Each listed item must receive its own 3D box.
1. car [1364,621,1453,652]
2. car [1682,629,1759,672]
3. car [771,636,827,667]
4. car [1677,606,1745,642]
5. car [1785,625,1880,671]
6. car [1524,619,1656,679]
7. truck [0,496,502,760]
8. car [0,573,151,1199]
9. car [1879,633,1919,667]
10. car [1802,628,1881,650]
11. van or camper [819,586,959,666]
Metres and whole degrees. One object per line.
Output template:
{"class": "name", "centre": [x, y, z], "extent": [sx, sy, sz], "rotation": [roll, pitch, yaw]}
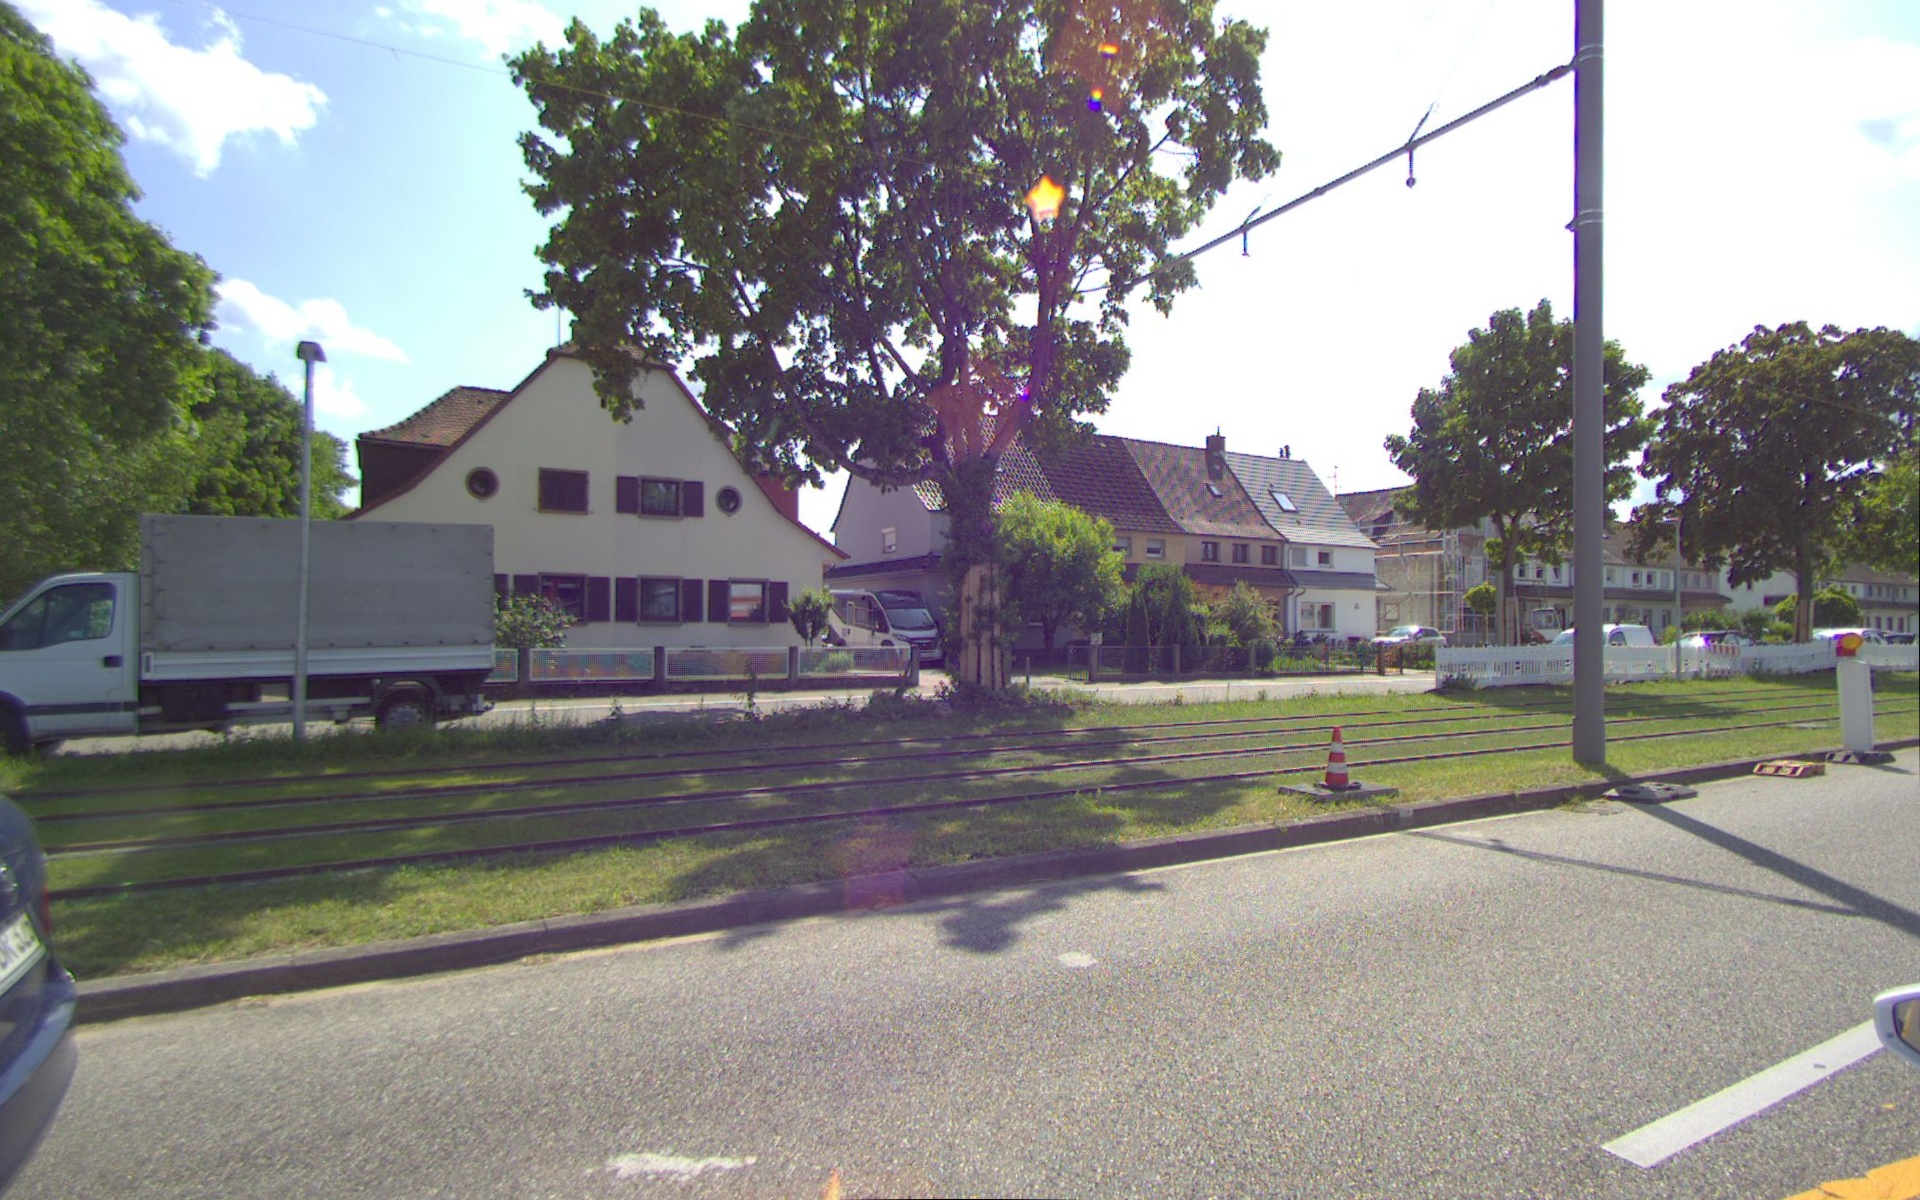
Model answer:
{"class": "car", "centre": [19.720, 1.628, 44.119], "extent": [4.072, 1.291, 1.527], "rotation": [2, -3, -31]}
{"class": "car", "centre": [25.013, 1.664, 33.025], "extent": [2.417, 1.365, 1.069], "rotation": [2, -3, -27]}
{"class": "car", "centre": [-6.946, 2.211, 43.301], "extent": [1.330, 1.189, 2.846], "rotation": [2, 0, -33]}
{"class": "car", "centre": [46.036, 1.482, 61.566], "extent": [3.954, 2.040, 1.983], "rotation": [2, 0, -31]}
{"class": "car", "centre": [33.340, 1.831, 38.368], "extent": [3.854, 1.673, 1.615], "rotation": [2, -3, -31]}
{"class": "car", "centre": [18.395, 1.439, 29.299], "extent": [3.954, 1.647, 1.645], "rotation": [2, -3, -31]}
{"class": "truck", "centre": [-9.228, 0.348, 12.862], "extent": [5.882, 2.842, 2.353], "rotation": [2, 0, -30]}
{"class": "car", "centre": [-3.730, 0.681, 0.856], "extent": [4.484, 1.506, 1.703], "rotation": [1, -3, -31]}
{"class": "car", "centre": [39.942, 2.106, 42.044], "extent": [3.078, 1.395, 1.344], "rotation": [2, -3, -31]}
{"class": "car", "centre": [63.802, 2.824, 72.746], "extent": [1.706, 1.529, 3.966], "rotation": [1, -2, -31]}
{"class": "van or camper", "centre": [-2.731, 0.871, 36.679], "extent": [2.471, 2.667, 6.300], "rotation": [2, 0, -31]}
